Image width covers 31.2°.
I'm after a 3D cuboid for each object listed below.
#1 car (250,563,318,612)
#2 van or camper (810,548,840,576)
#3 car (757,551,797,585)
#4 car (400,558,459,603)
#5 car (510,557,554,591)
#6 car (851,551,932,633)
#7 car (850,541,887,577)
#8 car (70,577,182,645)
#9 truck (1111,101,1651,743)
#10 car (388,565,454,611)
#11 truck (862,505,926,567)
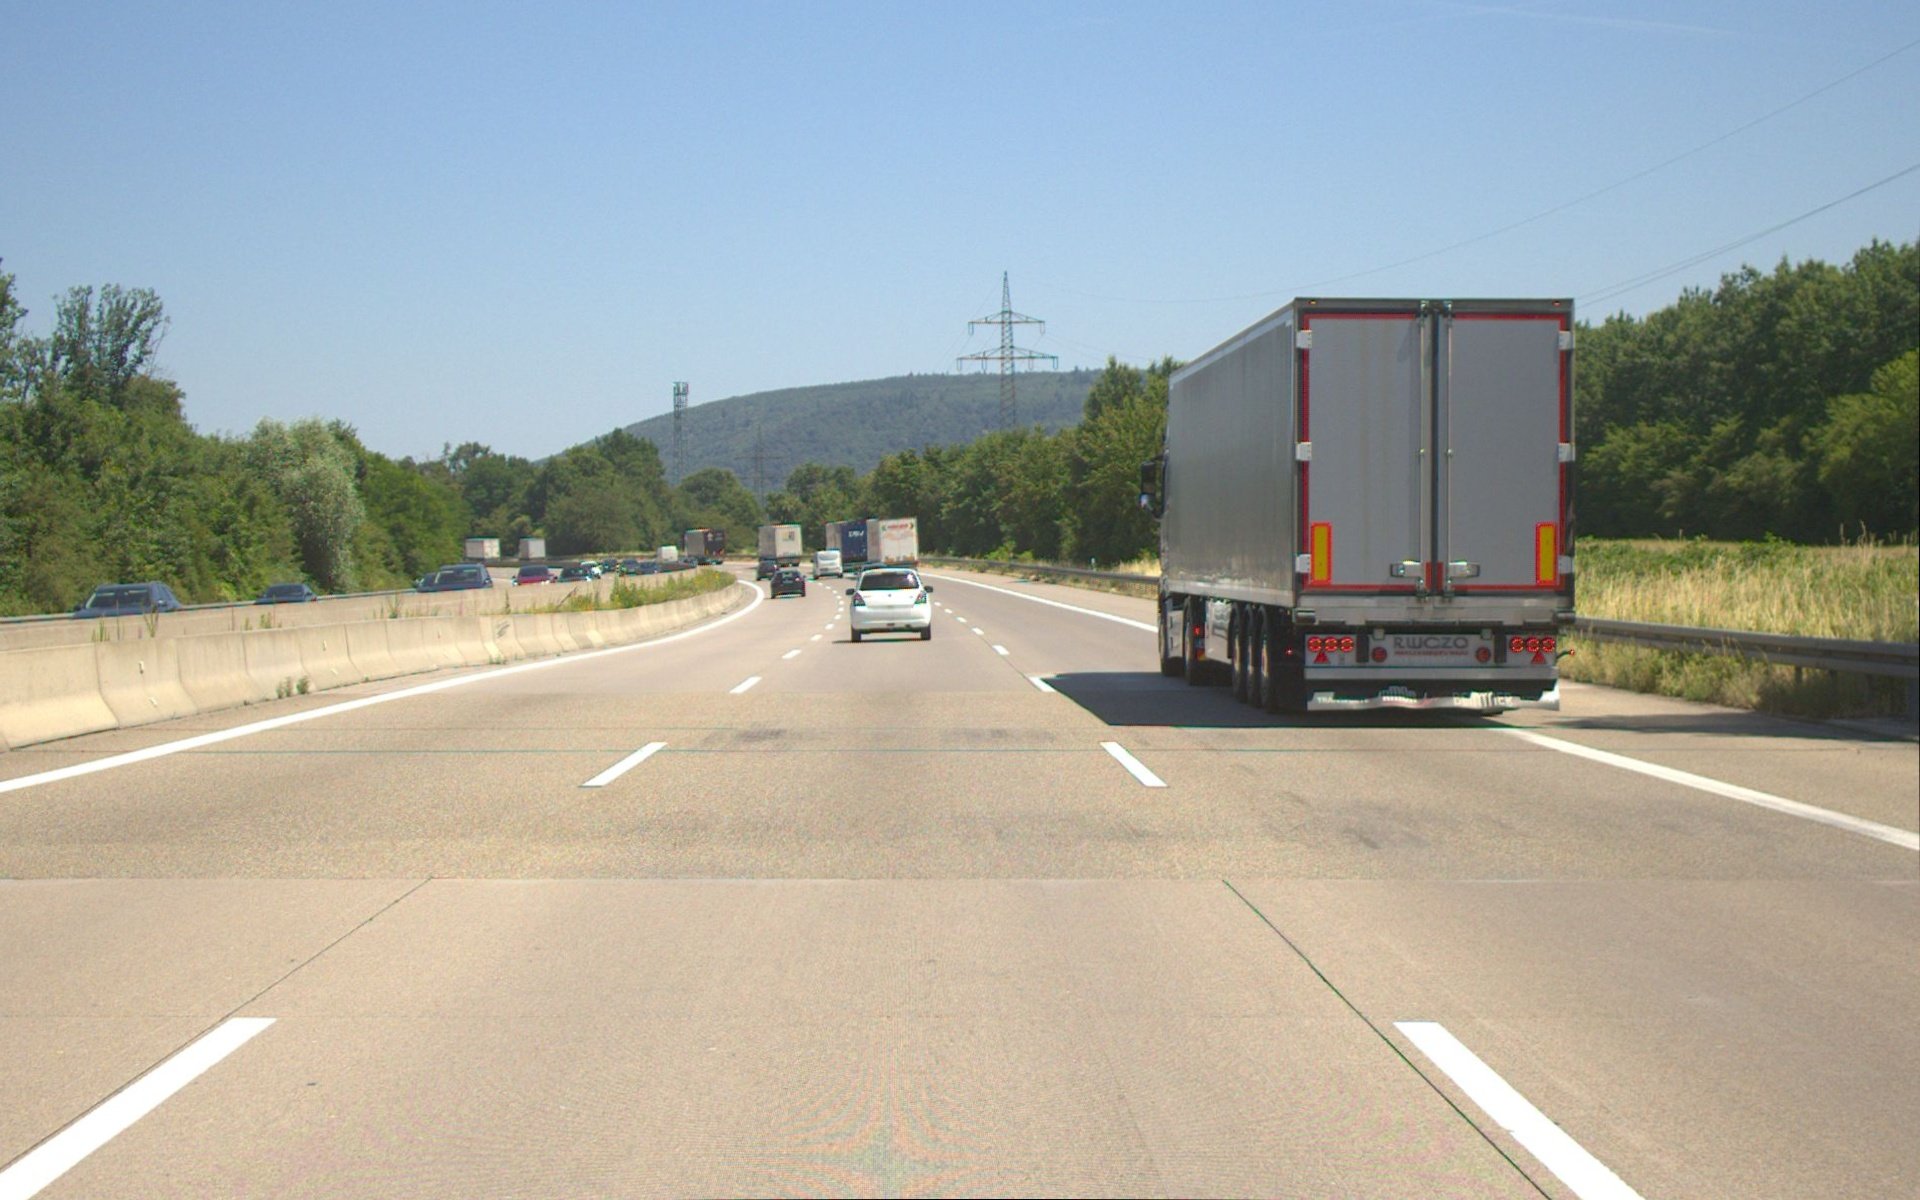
[{"bbox_3d":[-23.855,-0.437,121.408,1.703,1.652,4.091,-1,0,-2],"label":"car"},{"bbox_3d":[-9.649,-2.738,245.627,1.867,1.831,4.001,-4,1,-4],"label":"van or camper"},{"bbox_3d":[-9.501,-1.685,178.332,2.022,1.695,4.001,1,1,-4],"label":"car"},{"bbox_3d":[-20.091,-0.750,130.404,1.703,1.652,4.407,-1,1,-2],"label":"car"},{"bbox_3d":[-21.689,-1.325,174.351,1.799,1.664,4.218,-2,1,-2],"label":"car"},{"bbox_3d":[-1.437,-0.190,72.569,1.641,1.656,3.360,1,1,-1],"label":"car"},{"bbox_3d":[-4.744,-2.137,177.451,1.610,1.719,3.574,-4,1,-4],"label":"car"},{"bbox_3d":[-18.434,0.222,76.113,1.631,1.414,3.523,-1,1,0],"label":"car"},{"bbox_3d":[4.204,-1.815,40.147,3.577,5.767,18.249,0,1,-2],"label":"truck"},{"bbox_3d":[-17.195,-0.392,109.805,1.560,1.414,3.523,-1,1,0],"label":"car"},{"bbox_3d":[-4.614,-4.434,237.341,3.820,3.876,14.155,-4,1,-3],"label":"truck"}]
